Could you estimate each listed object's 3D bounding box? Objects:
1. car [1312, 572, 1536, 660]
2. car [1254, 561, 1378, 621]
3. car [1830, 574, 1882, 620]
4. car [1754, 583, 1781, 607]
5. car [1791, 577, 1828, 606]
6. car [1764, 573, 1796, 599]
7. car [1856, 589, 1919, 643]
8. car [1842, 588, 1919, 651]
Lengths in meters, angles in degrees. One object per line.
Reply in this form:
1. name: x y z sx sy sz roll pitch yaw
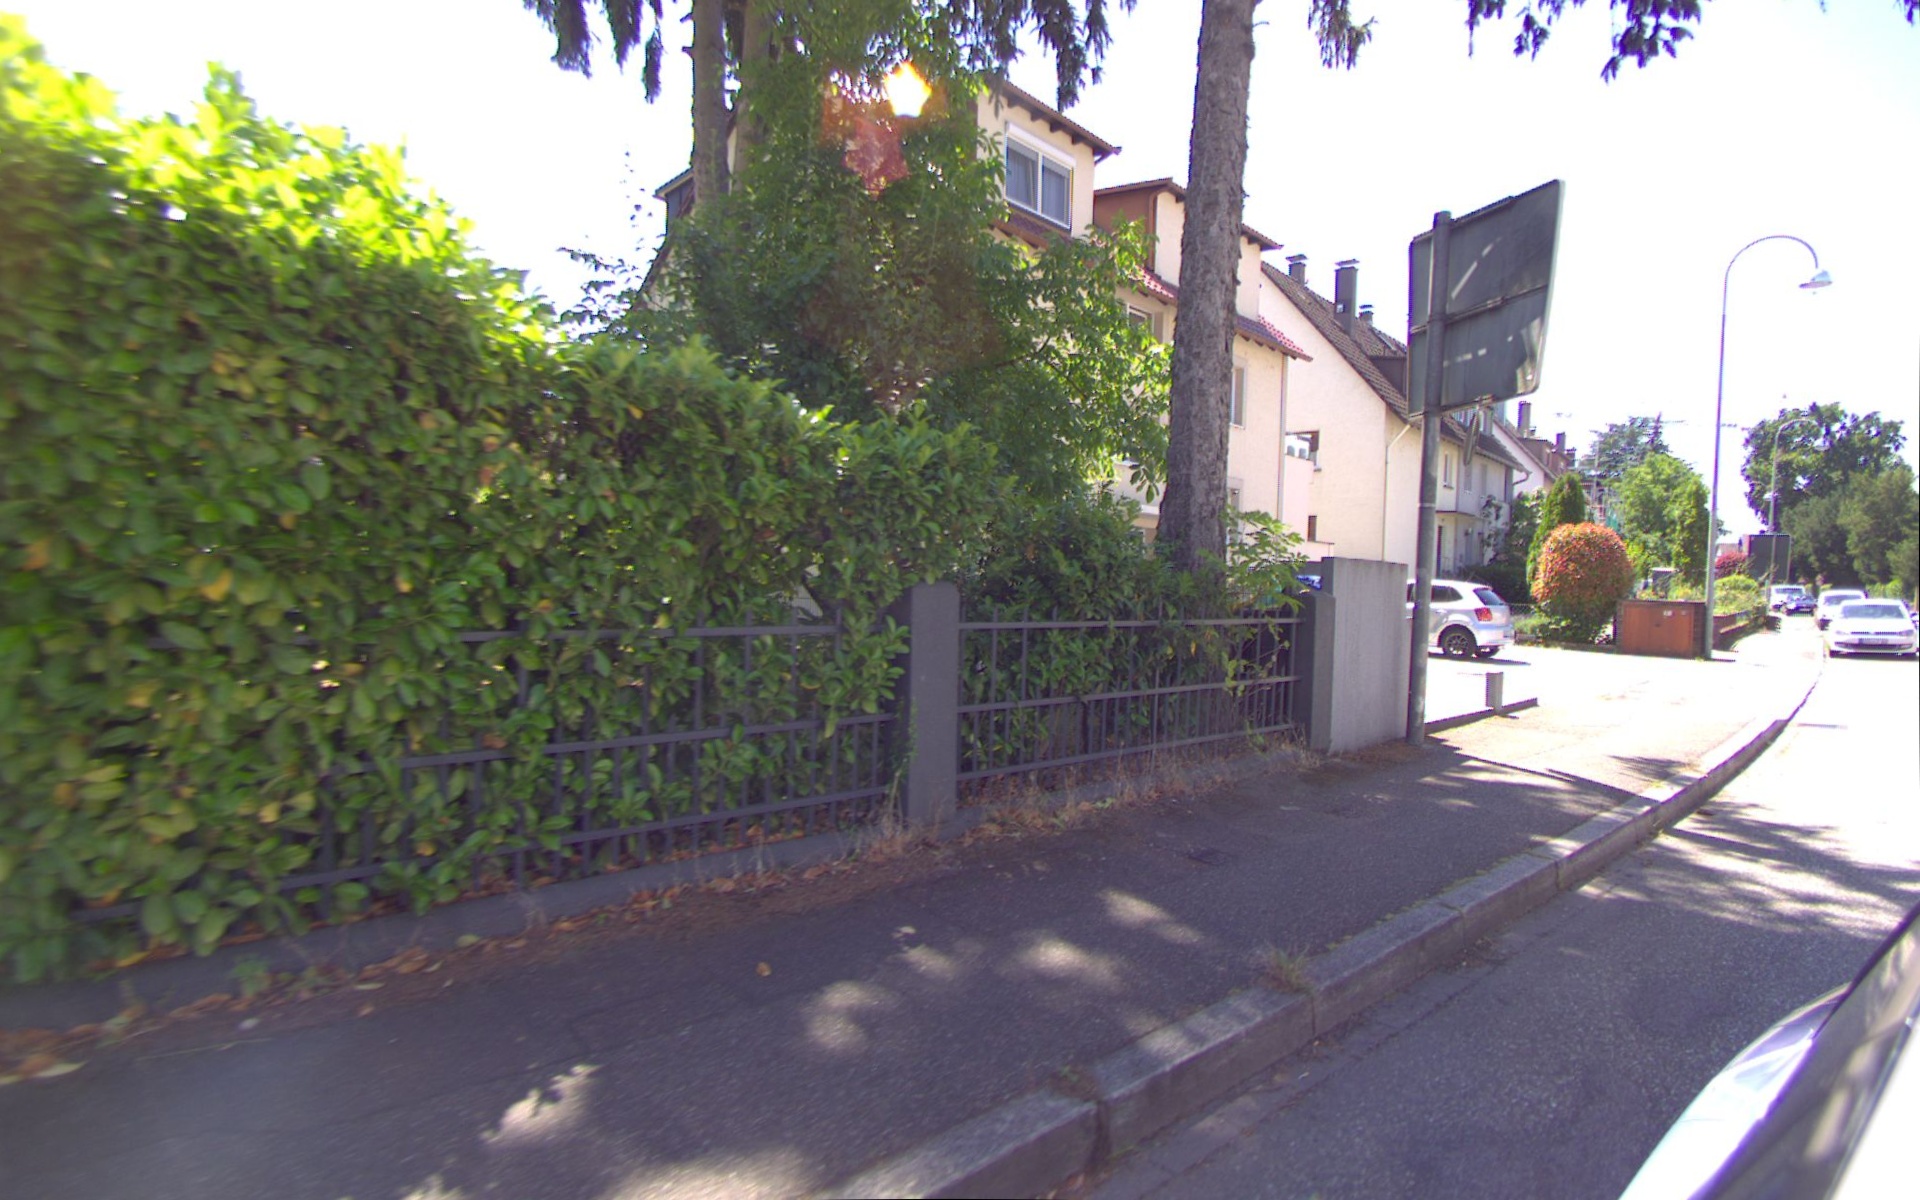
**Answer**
1. car: 9.032 0.235 19.859 1.749 1.549 3.621 -1 2 -44
2. car: 10.788 -0.292 30.743 3.146 1.571 1.547 5 4 40
3. car: 39.609 -0.163 44.740 1.683 1.801 3.882 1 3 42
4. car: 65.183 -0.429 81.737 1.681 1.801 3.885 0 1 39
5. car: 53.888 -0.582 64.251 1.681 1.801 3.885 0 1 39
6. car: 57.271 -1.003 70.726 1.681 1.801 3.885 0 1 39
7. car: 27.667 0.416 29.973 1.683 1.472 4.297 1 1 42
8. car: 23.485 0.435 25.640 1.683 1.473 3.683 1 1 42
